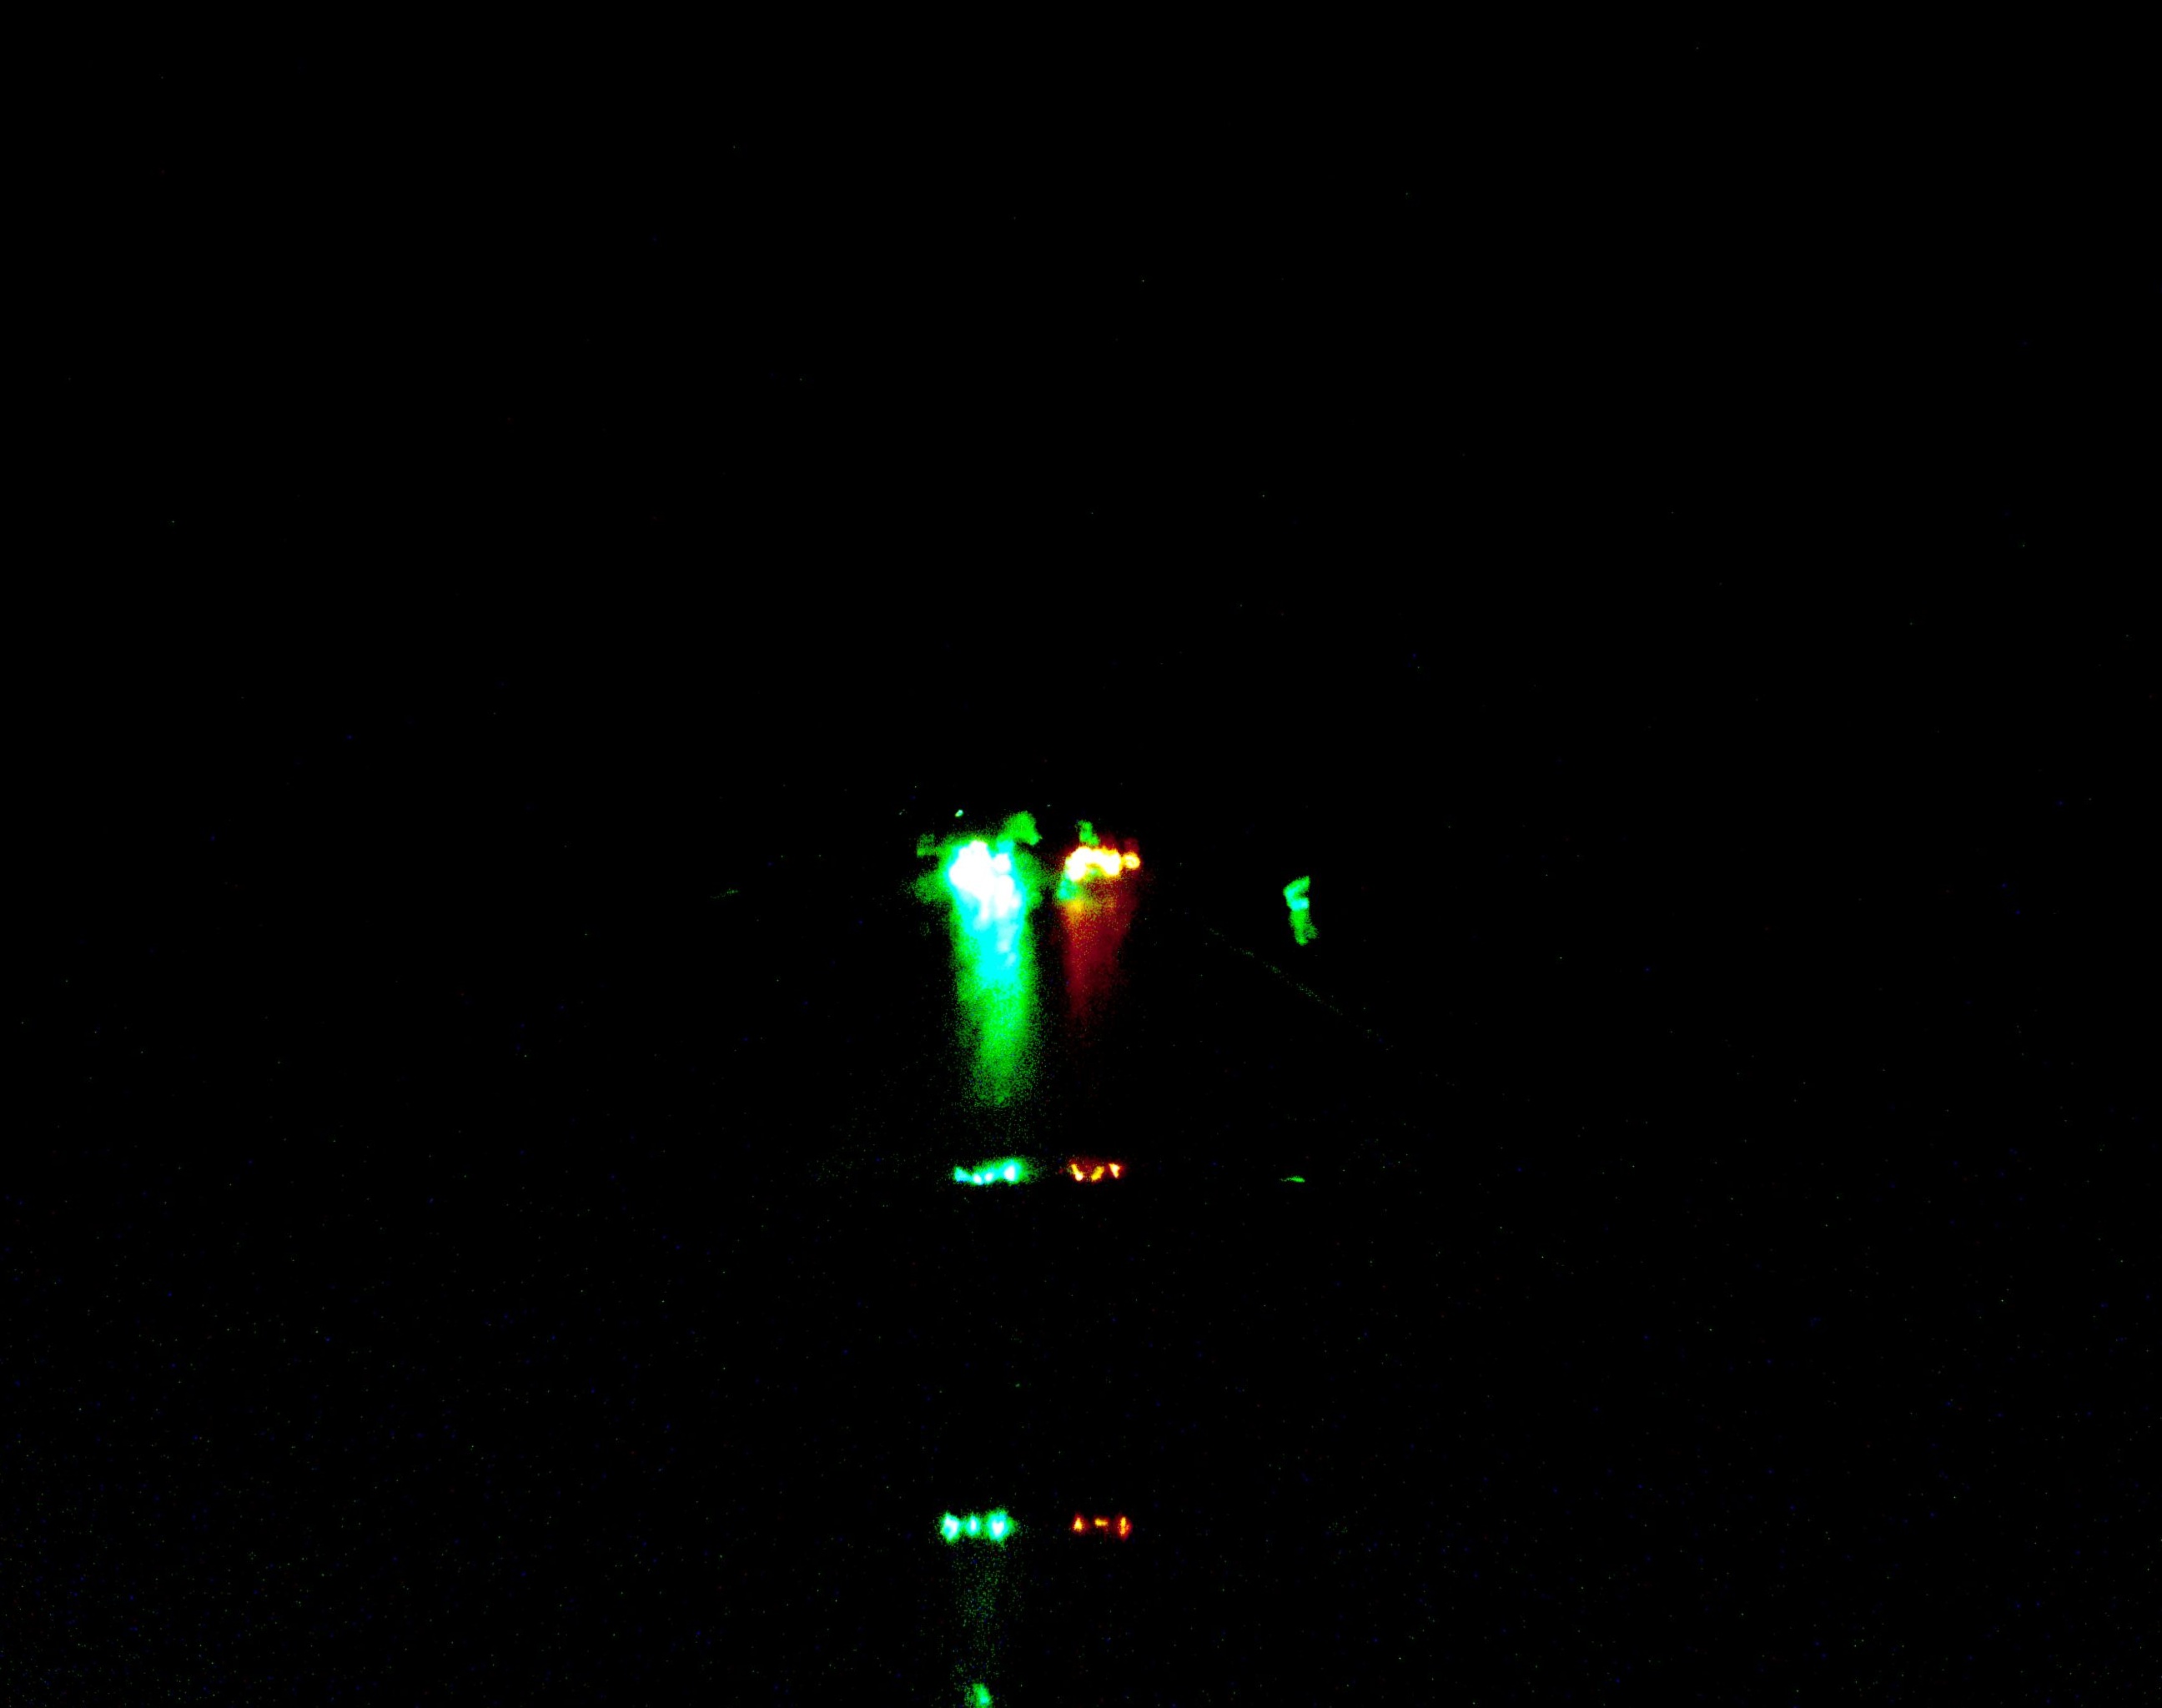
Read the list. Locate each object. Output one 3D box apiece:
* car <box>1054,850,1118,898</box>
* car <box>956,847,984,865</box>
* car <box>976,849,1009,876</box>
[{"bbox_3d":[0.092,0.704,31.324,1.990,1.628,4.976,-1,1,-5],"label":"car"},{"bbox_3d":[-11.486,0.183,84.047,1.999,1.708,4.955,-3,0,-17],"label":"car"},{"bbox_3d":[-5.878,0.533,53.771,1.929,1.584,4.970,-3,0,-8],"label":"car"}]
